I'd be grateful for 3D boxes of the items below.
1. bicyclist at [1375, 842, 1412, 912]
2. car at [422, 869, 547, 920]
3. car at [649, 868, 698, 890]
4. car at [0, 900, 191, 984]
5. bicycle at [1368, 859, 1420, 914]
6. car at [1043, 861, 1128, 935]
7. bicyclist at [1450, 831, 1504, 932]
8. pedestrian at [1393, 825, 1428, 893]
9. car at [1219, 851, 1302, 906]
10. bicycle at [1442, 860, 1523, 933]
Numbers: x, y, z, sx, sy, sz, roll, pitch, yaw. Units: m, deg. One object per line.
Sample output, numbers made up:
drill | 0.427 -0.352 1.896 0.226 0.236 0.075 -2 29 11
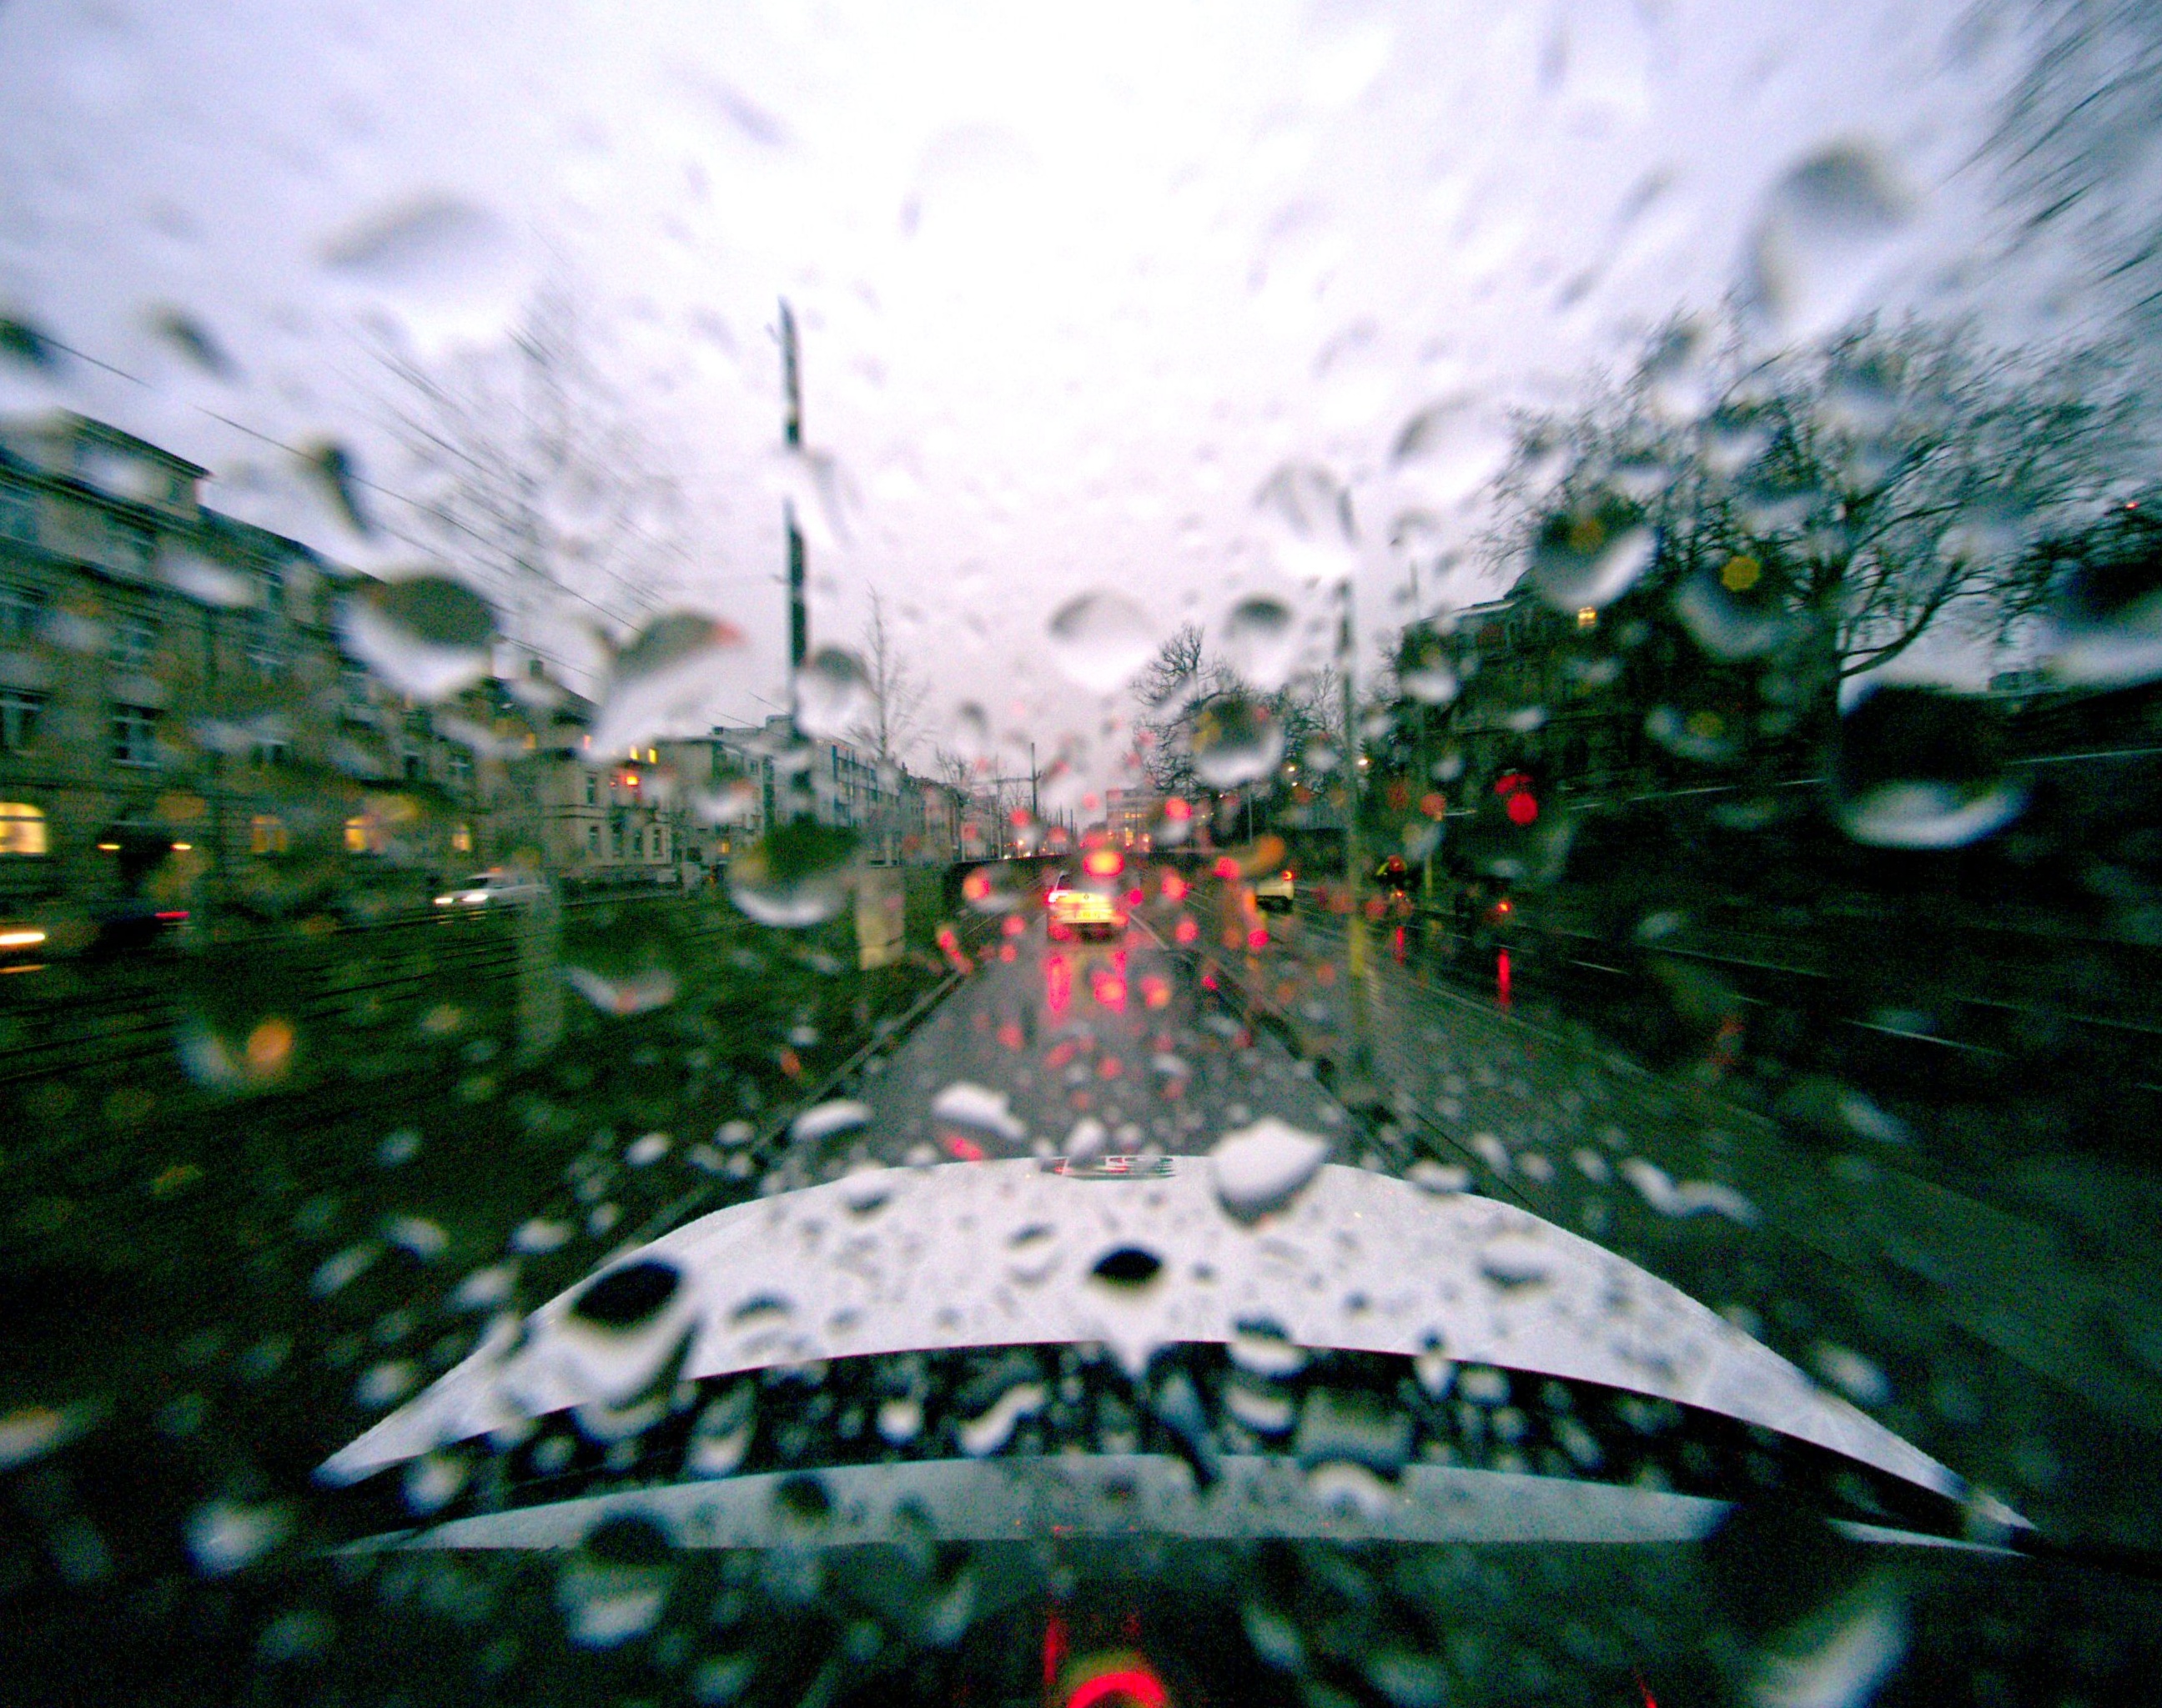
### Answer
bicyclist | 7.330 0.518 19.117 0.498 1.591 0.837 -2 0 -1
car | -26.703 1.734 36.744 1.988 1.933 4.910 -3 0 -1
car | -31.399 1.891 62.908 1.801 1.436 3.925 -3 0 -1
car | -26.023 2.195 20.808 1.988 1.692 4.109 -3 0 -1
bicycle | 7.330 0.726 19.162 0.410 1.185 1.947 -2 0 -1
car | 0.176 0.898 18.408 1.715 1.479 4.002 0 0 2
bicyclist | 7.193 0.488 14.816 0.498 1.767 0.837 -2 0 -1
pedestrian | 9.249 0.135 22.885 0.530 1.879 0.900 -2 0 -1
car | 5.117 0.664 23.697 1.715 1.479 4.002 0 0 2
bicycle | 7.245 0.725 14.791 0.410 1.185 2.028 -2 0 -1
